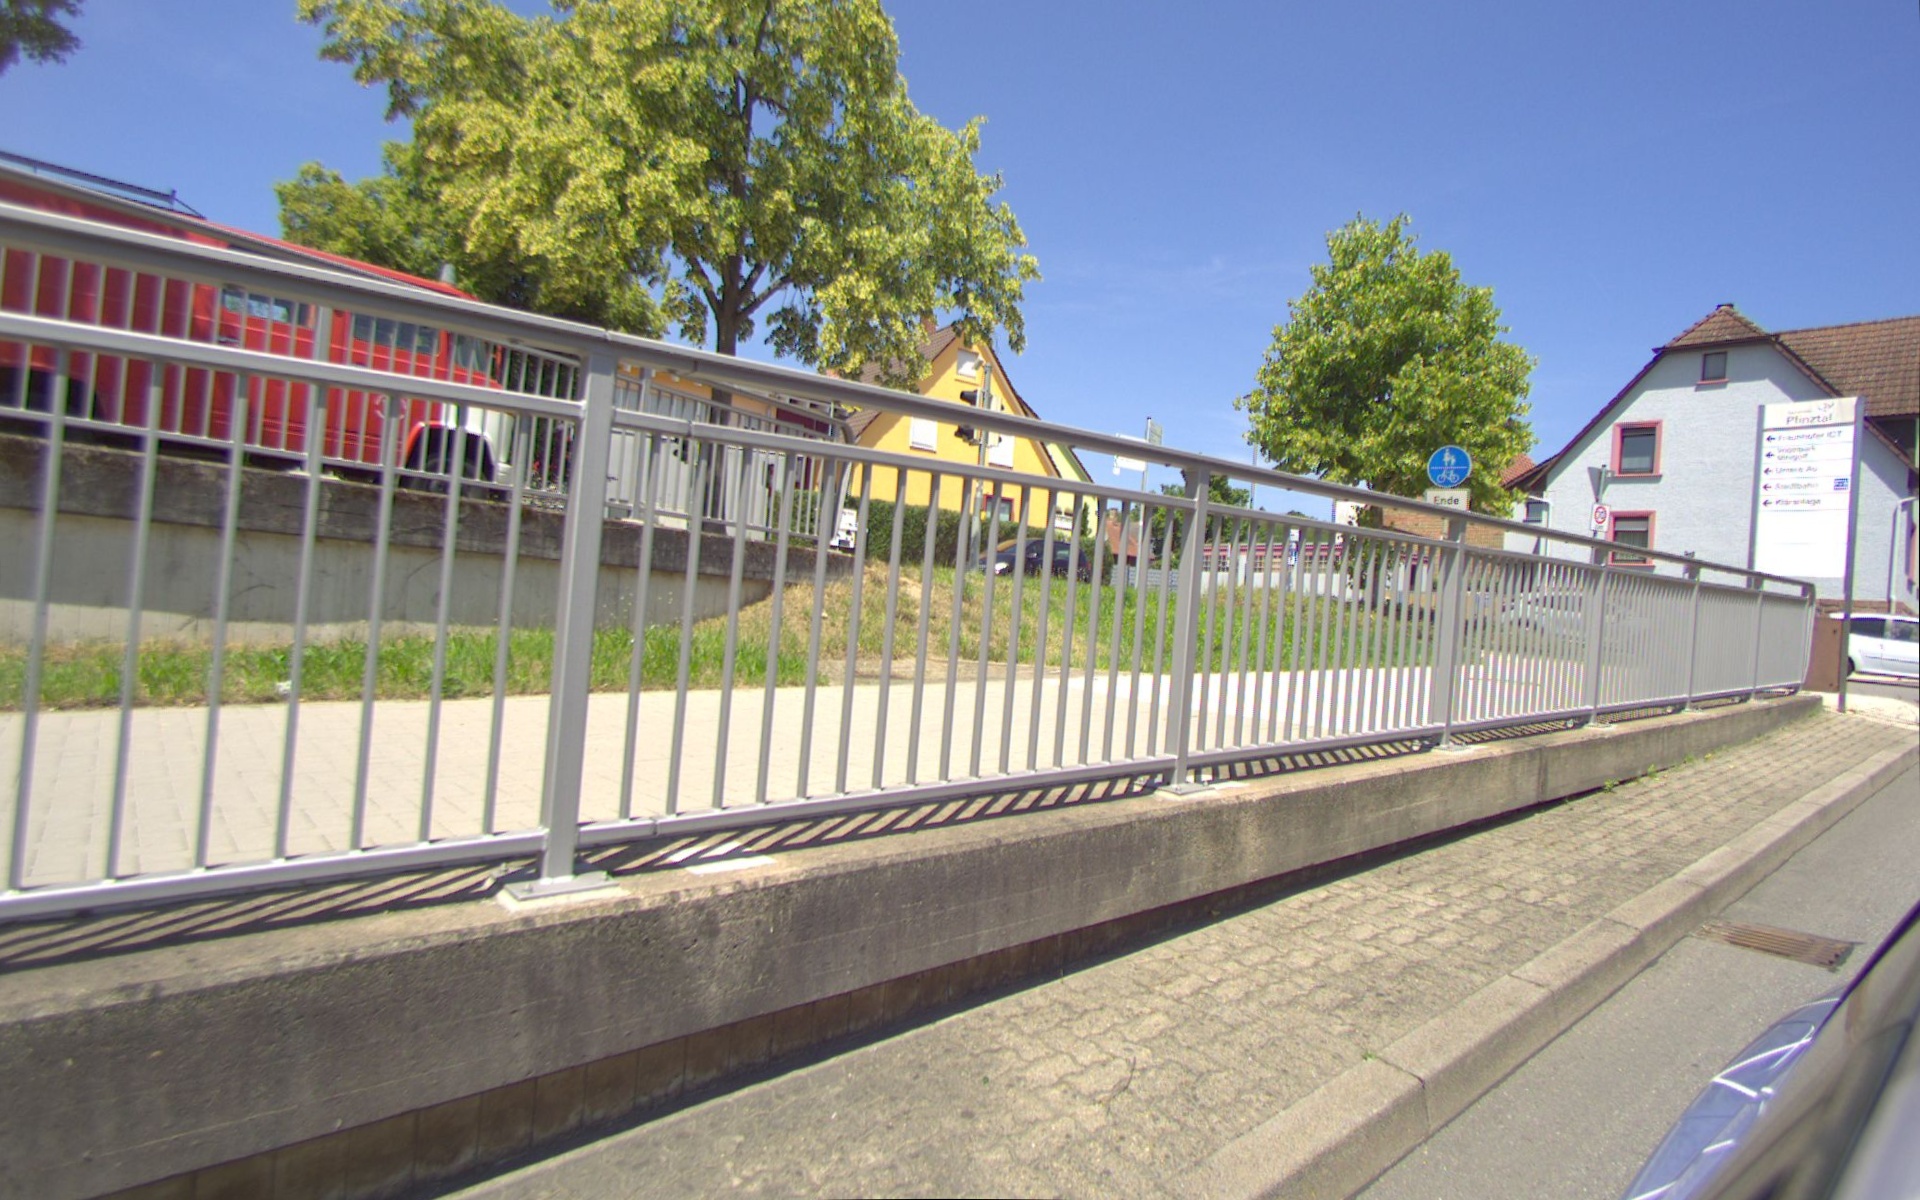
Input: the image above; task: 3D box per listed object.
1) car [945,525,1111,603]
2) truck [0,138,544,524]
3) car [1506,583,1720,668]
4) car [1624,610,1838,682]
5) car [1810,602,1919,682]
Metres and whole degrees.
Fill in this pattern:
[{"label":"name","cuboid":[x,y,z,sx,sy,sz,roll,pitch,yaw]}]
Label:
[{"label":"car","cuboid":[1.796,-0.869,25.863,4.084,1.609,1.866,5,-2,-42]},{"label":"truck","cuboid":[-6.788,-2.152,9.035,5.166,2.364,2.136,4,-1,-41]},{"label":"car","cuboid":[15.667,0.576,24.494,4.099,1.554,1.755,6,2,33]},{"label":"car","cuboid":[19.746,1.150,26.016,4.146,1.320,1.881,7,1,44]},{"label":"car","cuboid":[19.987,0.928,20.811,3.672,1.497,1.747,5,2,44]}]
